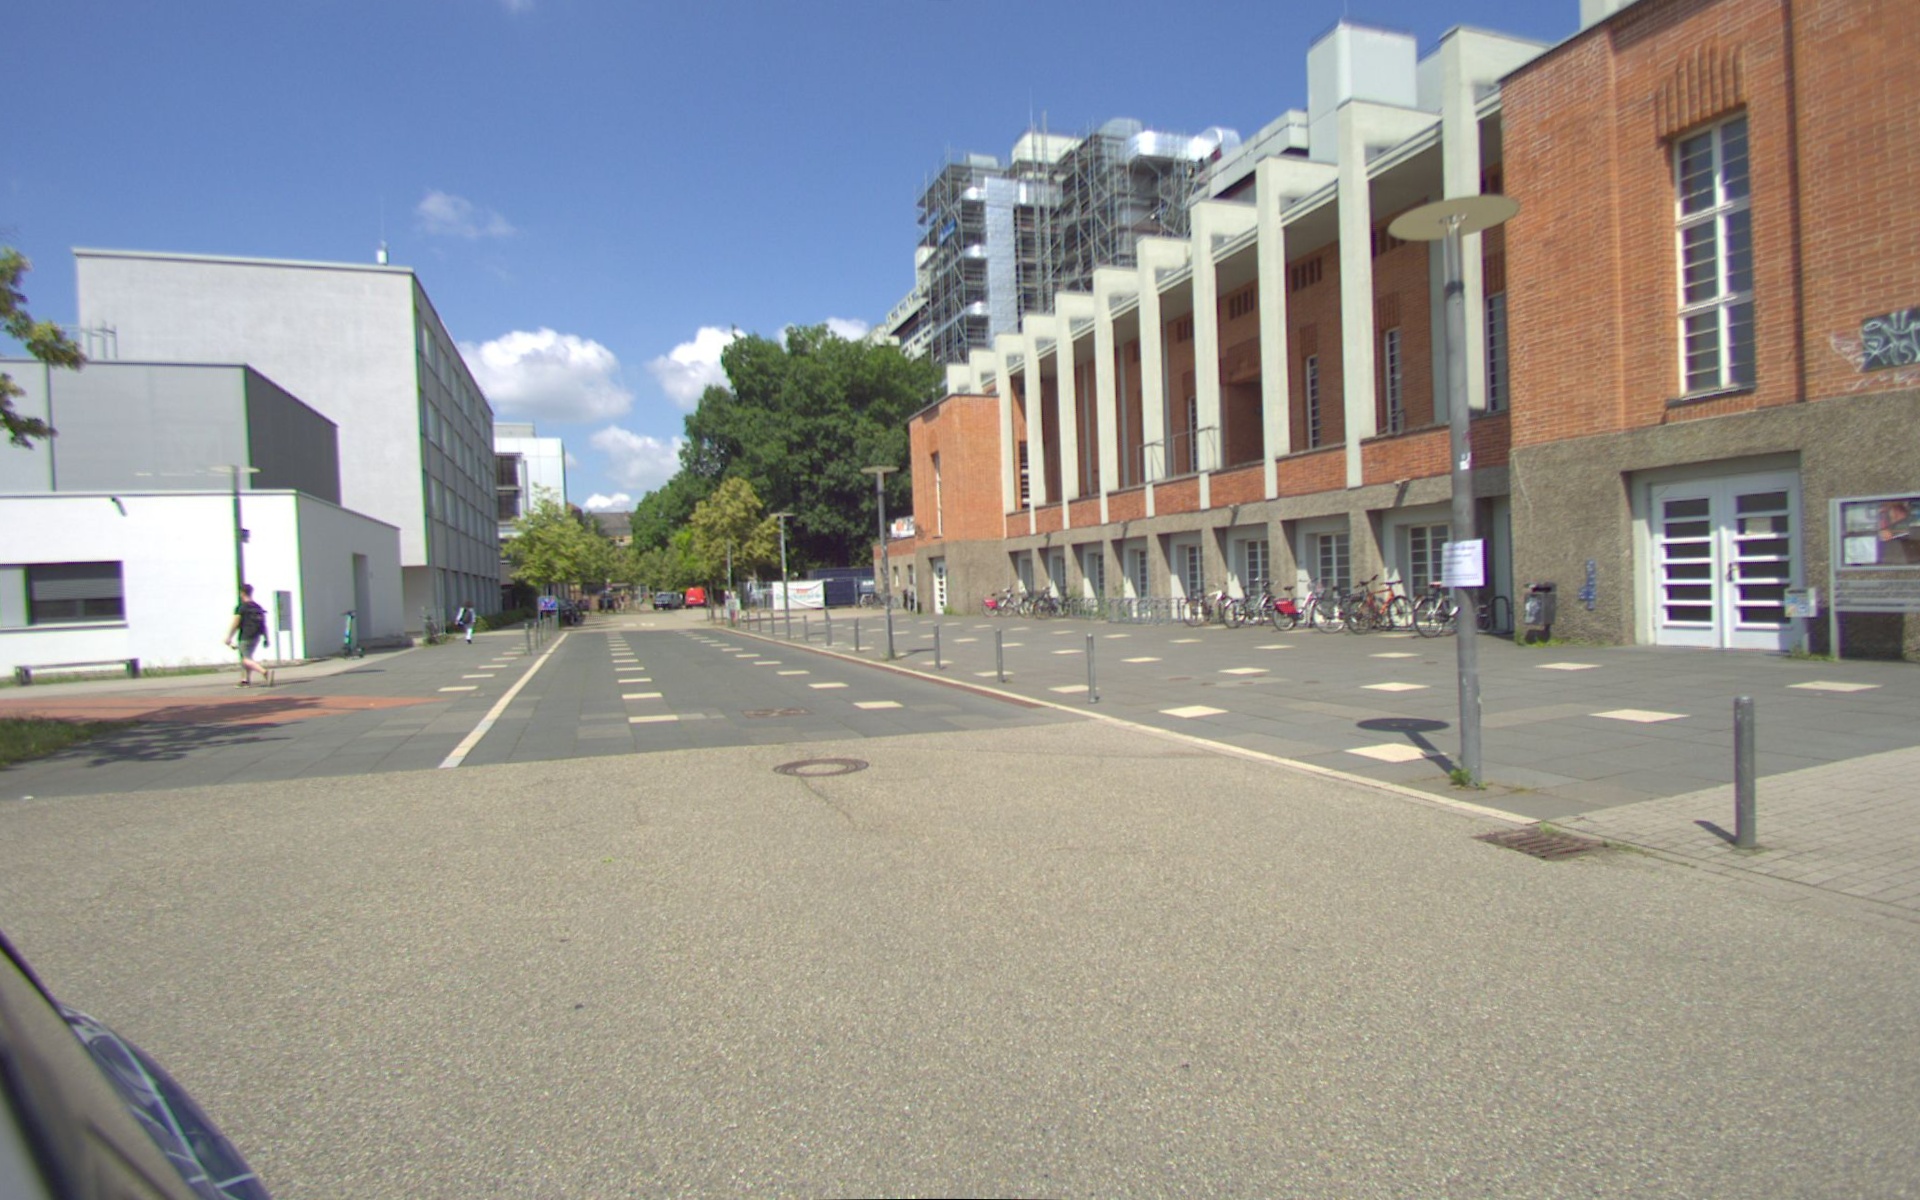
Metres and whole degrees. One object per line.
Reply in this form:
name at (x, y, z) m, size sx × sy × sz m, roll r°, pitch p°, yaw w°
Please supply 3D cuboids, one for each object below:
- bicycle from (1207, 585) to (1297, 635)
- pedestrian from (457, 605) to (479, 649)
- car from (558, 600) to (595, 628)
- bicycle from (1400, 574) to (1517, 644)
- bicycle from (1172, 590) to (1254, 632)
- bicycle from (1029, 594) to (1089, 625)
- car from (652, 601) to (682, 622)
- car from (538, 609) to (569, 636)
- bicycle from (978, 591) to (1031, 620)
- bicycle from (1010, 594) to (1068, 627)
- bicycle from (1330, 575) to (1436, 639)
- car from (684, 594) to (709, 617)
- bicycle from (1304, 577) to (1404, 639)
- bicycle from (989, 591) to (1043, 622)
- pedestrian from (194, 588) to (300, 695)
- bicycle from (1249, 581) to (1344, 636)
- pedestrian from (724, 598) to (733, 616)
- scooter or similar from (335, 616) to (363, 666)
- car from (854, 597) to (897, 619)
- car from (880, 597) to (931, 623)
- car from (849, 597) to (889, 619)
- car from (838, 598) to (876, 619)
bicycle at (6.910, 0.226, 23.925) m, size 1.993 × 1.069 × 0.665 m, roll -3°, pitch 1°, yaw -21°
pedestrian at (-16.655, 0.900, 34.248) m, size 0.516 × 1.449 × 0.703 m, roll -3°, pitch 0°, yaw -17°
car at (-24.850, 0.892, 65.675) m, size 1.908 × 1.693 × 3.479 m, roll -2°, pitch 0°, yaw -15°
bicycle at (8.994, 0.151, 18.262) m, size 1.993 × 1.134 × 0.669 m, roll -3°, pitch 1°, yaw -21°
bicycle at (6.418, 0.276, 25.687) m, size 1.923 × 0.967 × 0.687 m, roll -3°, pitch 1°, yaw -21°
bicycle at (3.360, 0.312, 34.228) m, size 1.923 × 0.947 × 0.571 m, roll -3°, pitch 1°, yaw -21°
car at (-32.648, 1.274, 112.936) m, size 1.999 × 2.107 × 4.431 m, roll -3°, pitch 0°, yaw 1°
car at (-23.030, 1.267, 57.322) m, size 1.526 × 1.396 × 3.465 m, roll -3°, pitch 1°, yaw -21°
bicycle at (1.718, 0.214, 38.912) m, size 1.923 × 1.038 × 0.543 m, roll -3°, pitch 1°, yaw -21°
bicycle at (2.784, 0.363, 35.667) m, size 1.923 × 1.038 × 0.532 m, roll -3°, pitch 1°, yaw -21°
bicycle at (8.364, 0.127, 19.981) m, size 1.993 × 1.134 × 0.594 m, roll -3°, pitch 0°, yaw -19°
car at (-22.952, 0.500, 88.302) m, size 1.883 × 1.896 × 4.010 m, roll -3°, pitch 0°, yaw -13°
bicycle at (8.106, 0.154, 20.825) m, size 1.994 × 1.134 × 0.440 m, roll -4°, pitch 1°, yaw -16°
bicycle at (2.117, 0.236, 38.014) m, size 1.923 × 1.038 × 0.520 m, roll -3°, pitch 1°, yaw -21°
pedestrian at (-12.555, 0.723, 17.850) m, size 1.158 × 1.814 × 1.018 m, roll -1°, pitch -1°, yaw 10°
bicycle at (7.371, 0.176, 22.153) m, size 1.981 × 1.090 × 0.624 m, roll -3°, pitch 1°, yaw -21°
pedestrian at (-20.438, 0.589, 89.266) m, size 0.633 × 1.550 × 0.454 m, roll -3°, pitch 0°, yaw -8°
scooter or similar at (-15.884, 1.056, 26.336) m, size 0.321 × 1.245 × 1.077 m, roll -3°, pitch 0°, yaw -17°
car at (-4.965, 0.466, 59.167) m, size 2.329 × 1.189 × 0.797 m, roll -3°, pitch 1°, yaw -18°
car at (-2.776, 0.493, 51.520) m, size 2.487 × 1.189 × 0.634 m, roll -3°, pitch 0°, yaw -18°
car at (-5.481, 0.487, 60.894) m, size 2.251 × 1.189 × 0.526 m, roll -3°, pitch 0°, yaw -18°
car at (-6.420, 0.519, 63.174) m, size 2.287 × 1.189 × 0.481 m, roll -3°, pitch 0°, yaw -18°
